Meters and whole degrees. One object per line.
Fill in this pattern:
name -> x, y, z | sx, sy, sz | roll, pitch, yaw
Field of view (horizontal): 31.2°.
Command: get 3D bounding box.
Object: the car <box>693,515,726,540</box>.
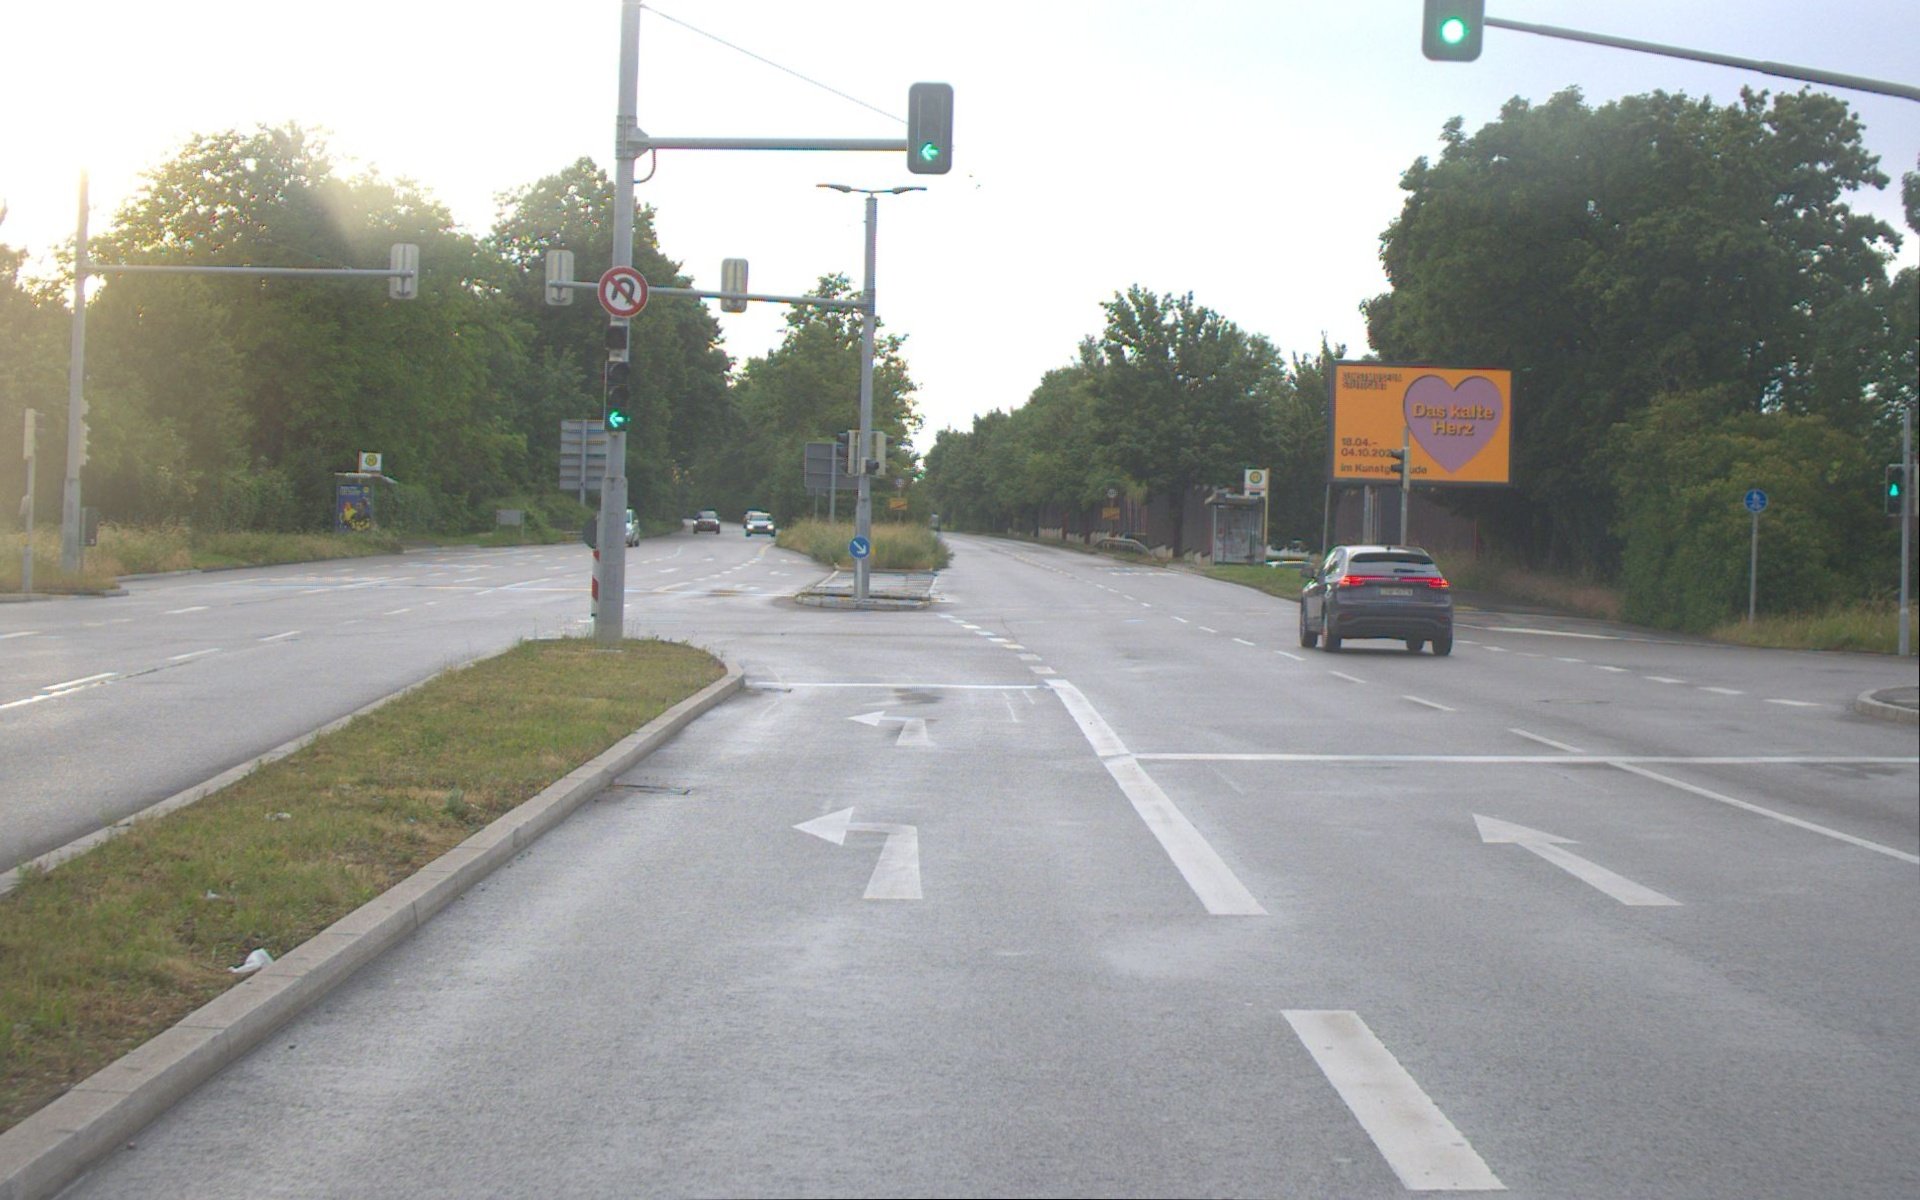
car -> -16.744, -4.831, 229.822 | 1.893, 1.590, 4.489 | 2, 1, -1

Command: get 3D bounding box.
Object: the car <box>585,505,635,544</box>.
car -> -15.190, -3.283, 149.477 | 1.768, 1.590, 4.489 | 2, 1, -1

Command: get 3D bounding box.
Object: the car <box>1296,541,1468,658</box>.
car -> 5.805, -0.039, 47.668 | 1.744, 1.465, 4.166 | 2, 1, -1

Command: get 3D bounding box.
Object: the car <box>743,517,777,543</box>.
car -> -12.401, -4.363, 213.802 | 1.893, 1.529, 4.489 | 2, 1, -1
